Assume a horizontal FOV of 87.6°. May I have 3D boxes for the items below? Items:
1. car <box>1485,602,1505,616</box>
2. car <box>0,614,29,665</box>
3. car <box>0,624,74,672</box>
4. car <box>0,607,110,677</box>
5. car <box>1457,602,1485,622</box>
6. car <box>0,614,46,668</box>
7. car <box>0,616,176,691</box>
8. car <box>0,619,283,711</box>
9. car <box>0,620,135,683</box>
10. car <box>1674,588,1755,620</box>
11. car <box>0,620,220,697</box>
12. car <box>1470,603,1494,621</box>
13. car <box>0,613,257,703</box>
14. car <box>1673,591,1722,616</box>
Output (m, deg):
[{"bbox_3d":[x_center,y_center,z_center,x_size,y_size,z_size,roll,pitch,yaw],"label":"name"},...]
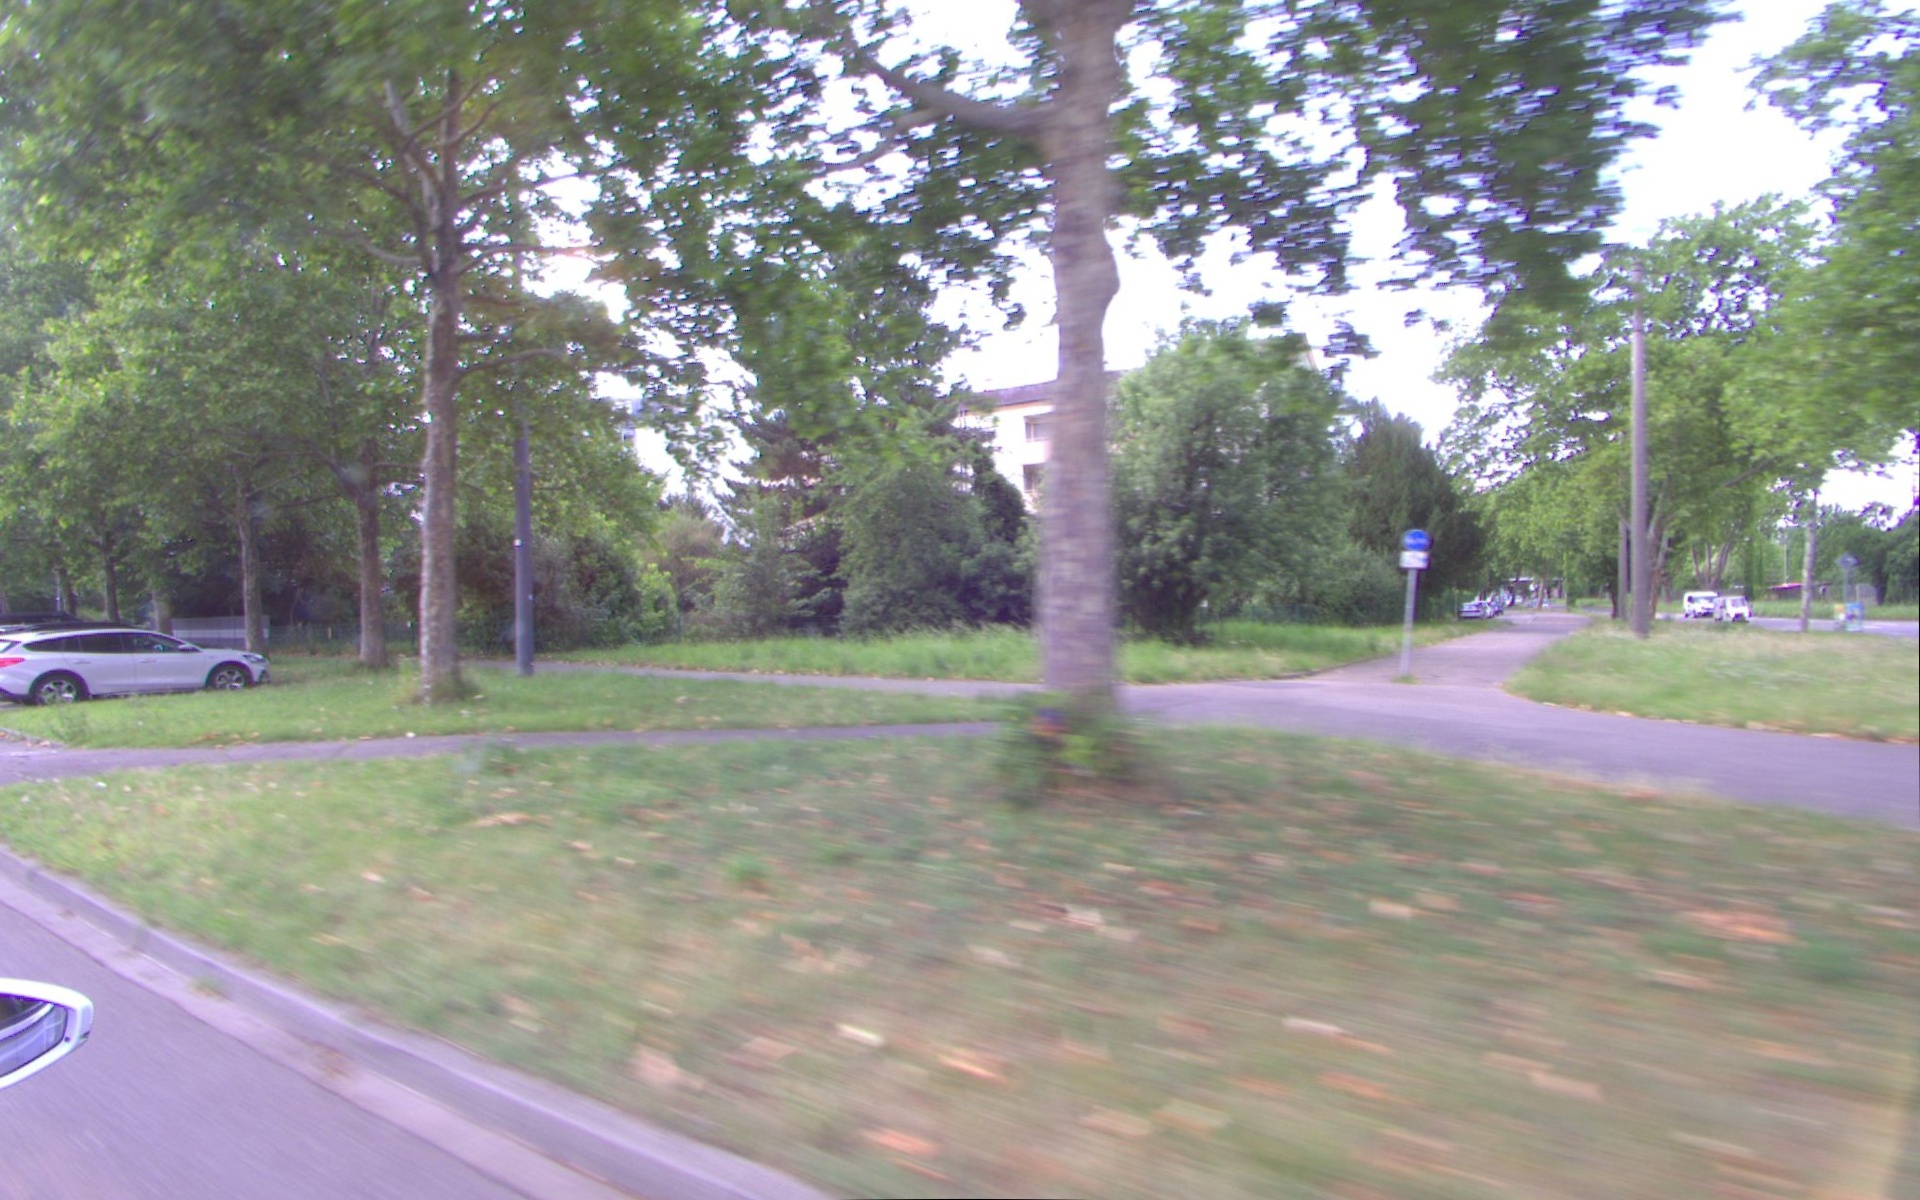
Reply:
[{"bbox_3d":[54.874,0.933,102.631,1.654,1.409,3.290,-1,0,30],"label":"car"},{"bbox_3d":[-41.376,1.707,40.979,1.832,2.070,4.528,-1,0,37],"label":"car"},{"bbox_3d":[-35.730,1.800,36.726,1.832,1.682,4.529,-1,0,36],"label":"car"},{"bbox_3d":[-30.832,1.366,32.609,1.834,2.152,4.523,-1,0,40],"label":"car"},{"bbox_3d":[37.977,0.880,74.380,1.654,1.409,3.290,-1,0,30],"label":"car"},{"bbox_3d":[-37.953,1.609,37.995,1.832,2.027,4.528,-1,0,37],"label":"car"},{"bbox_3d":[-22.419,1.305,24.900,1.737,1.661,4.356,-1,0,43],"label":"car"},{"bbox_3d":[-16.690,1.218,20.213,1.824,1.493,4.640,-1,1,37],"label":"car"},{"bbox_3d":[-26.409,1.469,28.630,1.730,1.626,3.958,-1,0,31],"label":"car"},{"bbox_3d":[39.465,0.217,52.494,1.965,1.533,4.678,-2,-1,19],"label":"car"},{"bbox_3d":[-20.204,1.304,23.465,1.737,1.521,4.356,-1,1,43],"label":"car"},{"bbox_3d":[42.777,0.938,82.027,1.654,1.409,3.290,-1,0,30],"label":"car"},{"bbox_3d":[-18.298,1.176,21.719,1.824,1.647,4.640,-1,1,37],"label":"car"},{"bbox_3d":[54.397,0.273,73.906,1.966,1.728,3.989,-1,0,23],"label":"car"}]
